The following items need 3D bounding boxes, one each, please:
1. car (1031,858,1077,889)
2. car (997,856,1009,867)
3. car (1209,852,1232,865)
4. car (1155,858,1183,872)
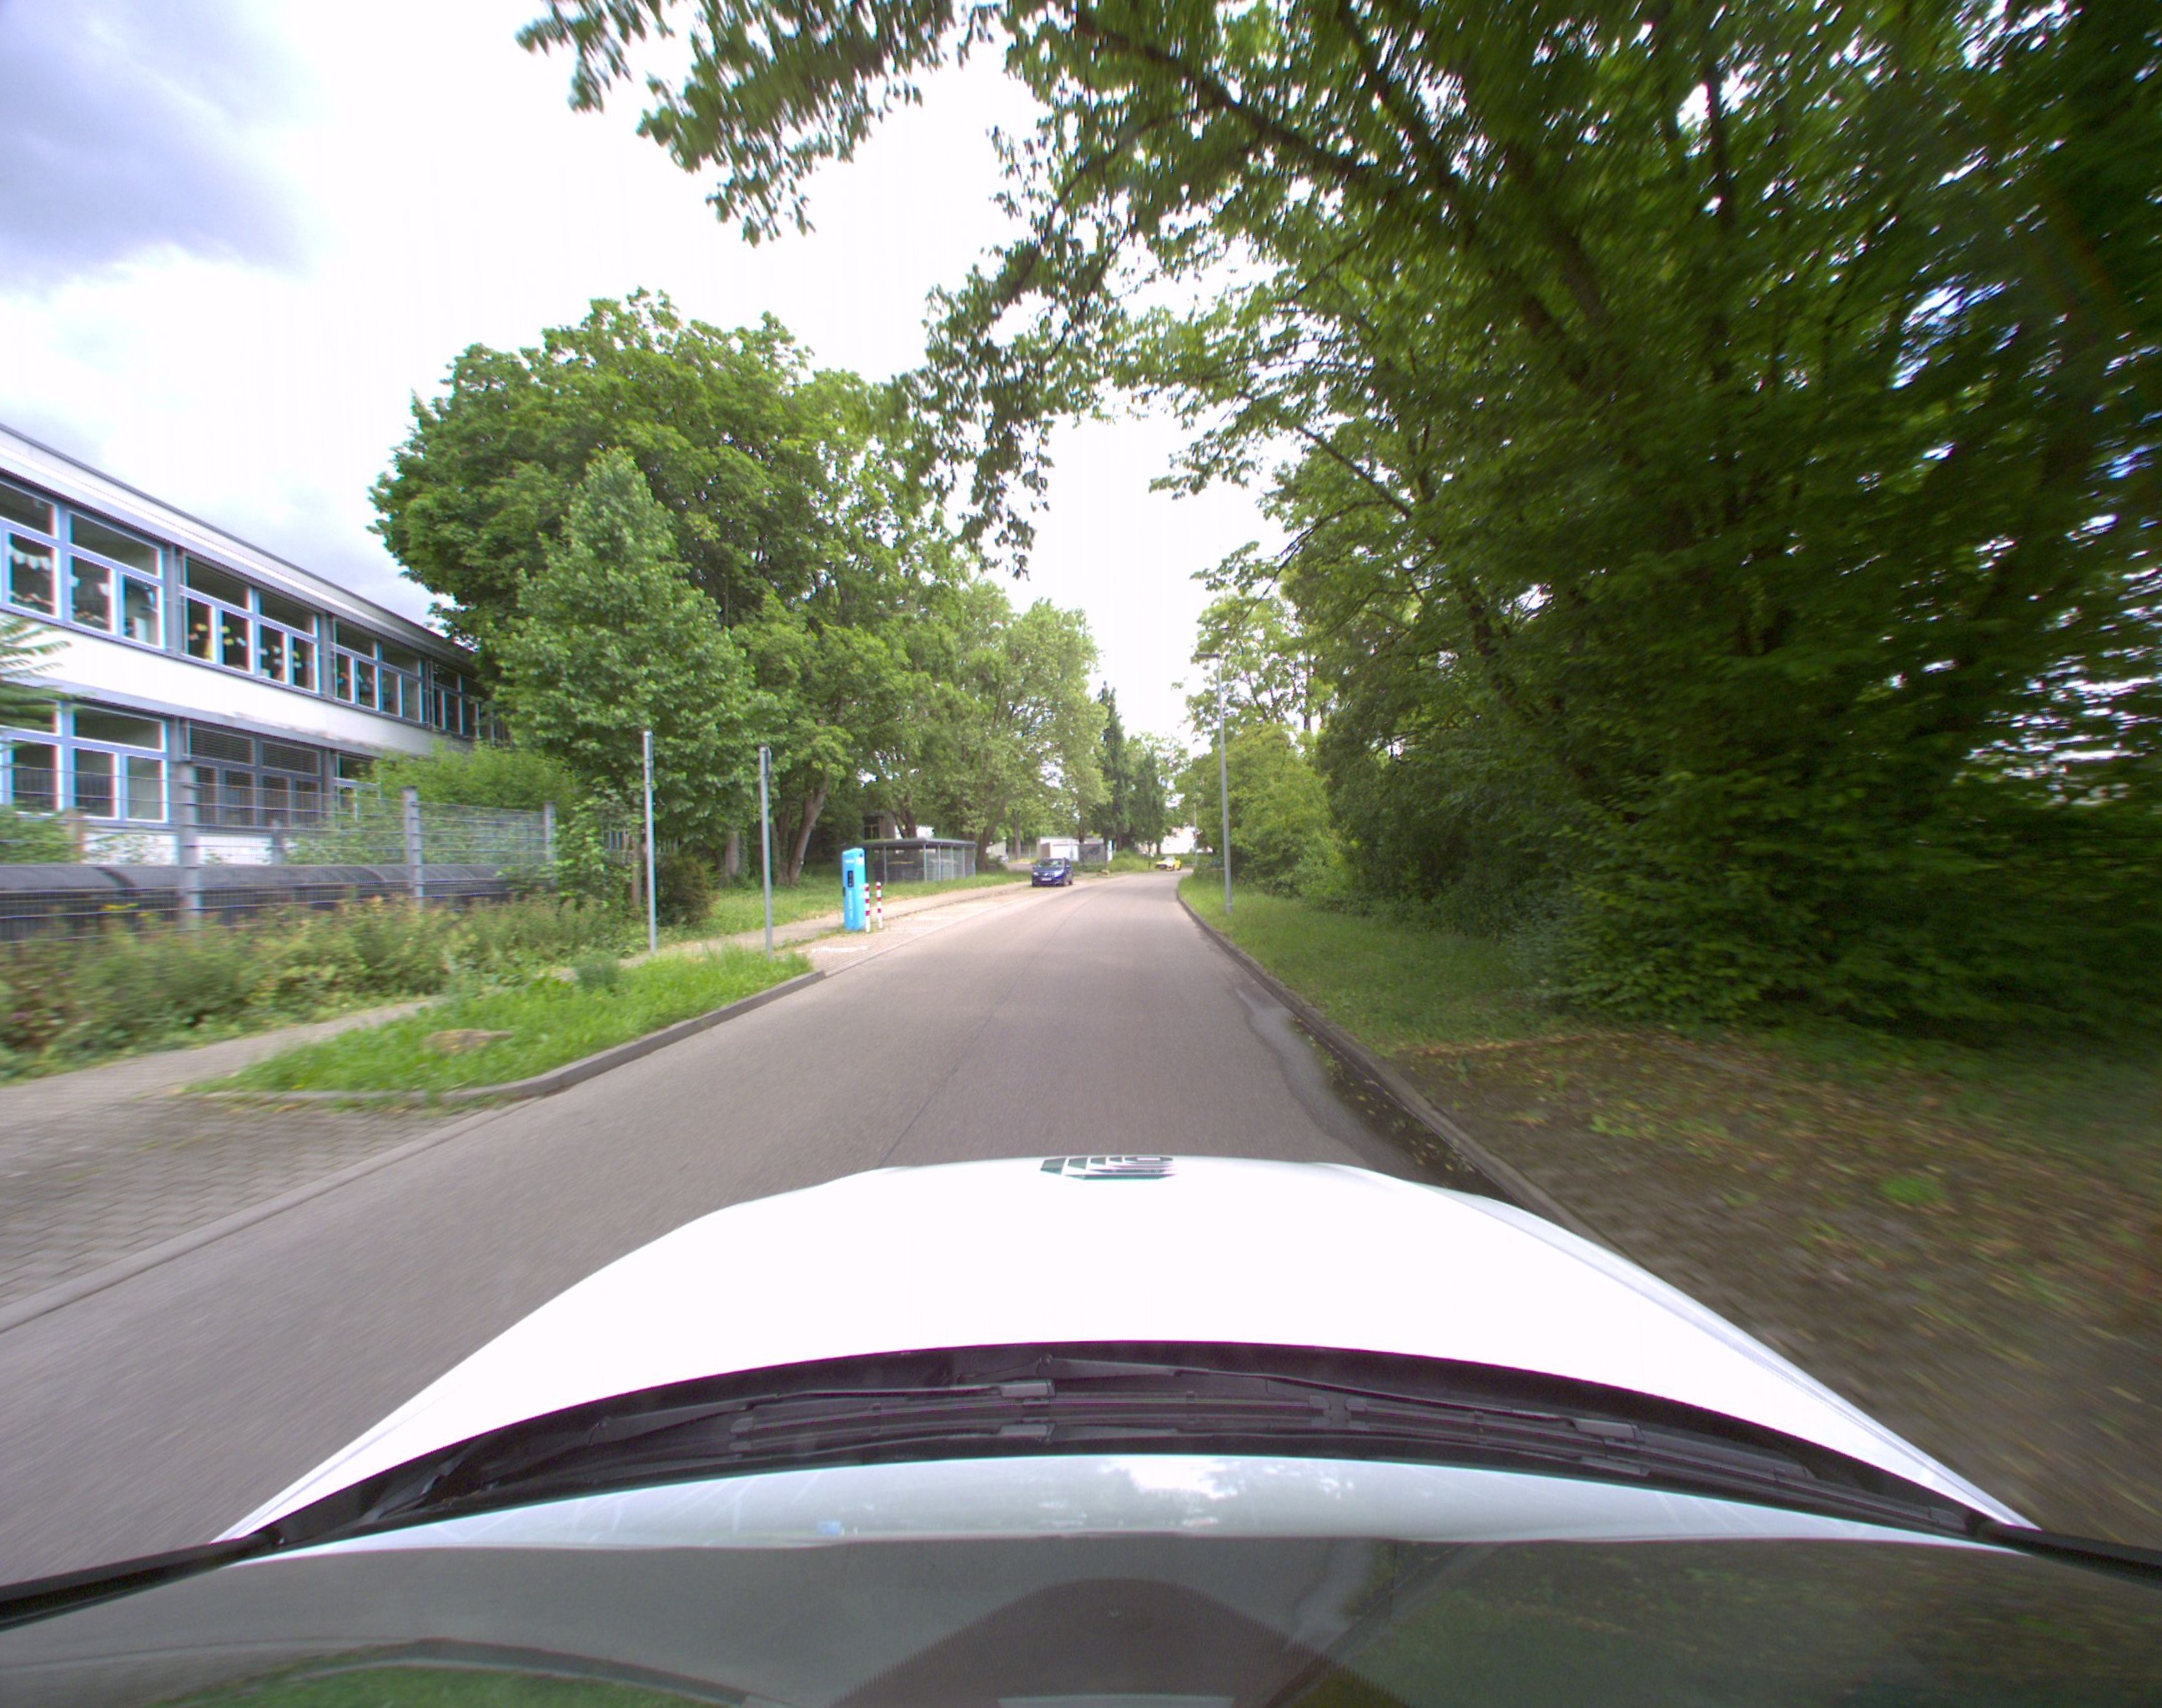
[{"bbox_3d":[-1.380,0.985,43.227,1.670,1.511,4.440,-1,-1,8],"label":"car"},{"bbox_3d":[-13.369,1.240,140.442,1.869,1.746,3.994,-2,0,-4],"label":"car"},{"bbox_3d":[16.549,0.504,96.596,1.519,1.459,3.743,-2,-1,28],"label":"car"},{"bbox_3d":[8.688,1.065,80.264,1.686,1.403,4.295,-1,-1,20],"label":"car"}]
